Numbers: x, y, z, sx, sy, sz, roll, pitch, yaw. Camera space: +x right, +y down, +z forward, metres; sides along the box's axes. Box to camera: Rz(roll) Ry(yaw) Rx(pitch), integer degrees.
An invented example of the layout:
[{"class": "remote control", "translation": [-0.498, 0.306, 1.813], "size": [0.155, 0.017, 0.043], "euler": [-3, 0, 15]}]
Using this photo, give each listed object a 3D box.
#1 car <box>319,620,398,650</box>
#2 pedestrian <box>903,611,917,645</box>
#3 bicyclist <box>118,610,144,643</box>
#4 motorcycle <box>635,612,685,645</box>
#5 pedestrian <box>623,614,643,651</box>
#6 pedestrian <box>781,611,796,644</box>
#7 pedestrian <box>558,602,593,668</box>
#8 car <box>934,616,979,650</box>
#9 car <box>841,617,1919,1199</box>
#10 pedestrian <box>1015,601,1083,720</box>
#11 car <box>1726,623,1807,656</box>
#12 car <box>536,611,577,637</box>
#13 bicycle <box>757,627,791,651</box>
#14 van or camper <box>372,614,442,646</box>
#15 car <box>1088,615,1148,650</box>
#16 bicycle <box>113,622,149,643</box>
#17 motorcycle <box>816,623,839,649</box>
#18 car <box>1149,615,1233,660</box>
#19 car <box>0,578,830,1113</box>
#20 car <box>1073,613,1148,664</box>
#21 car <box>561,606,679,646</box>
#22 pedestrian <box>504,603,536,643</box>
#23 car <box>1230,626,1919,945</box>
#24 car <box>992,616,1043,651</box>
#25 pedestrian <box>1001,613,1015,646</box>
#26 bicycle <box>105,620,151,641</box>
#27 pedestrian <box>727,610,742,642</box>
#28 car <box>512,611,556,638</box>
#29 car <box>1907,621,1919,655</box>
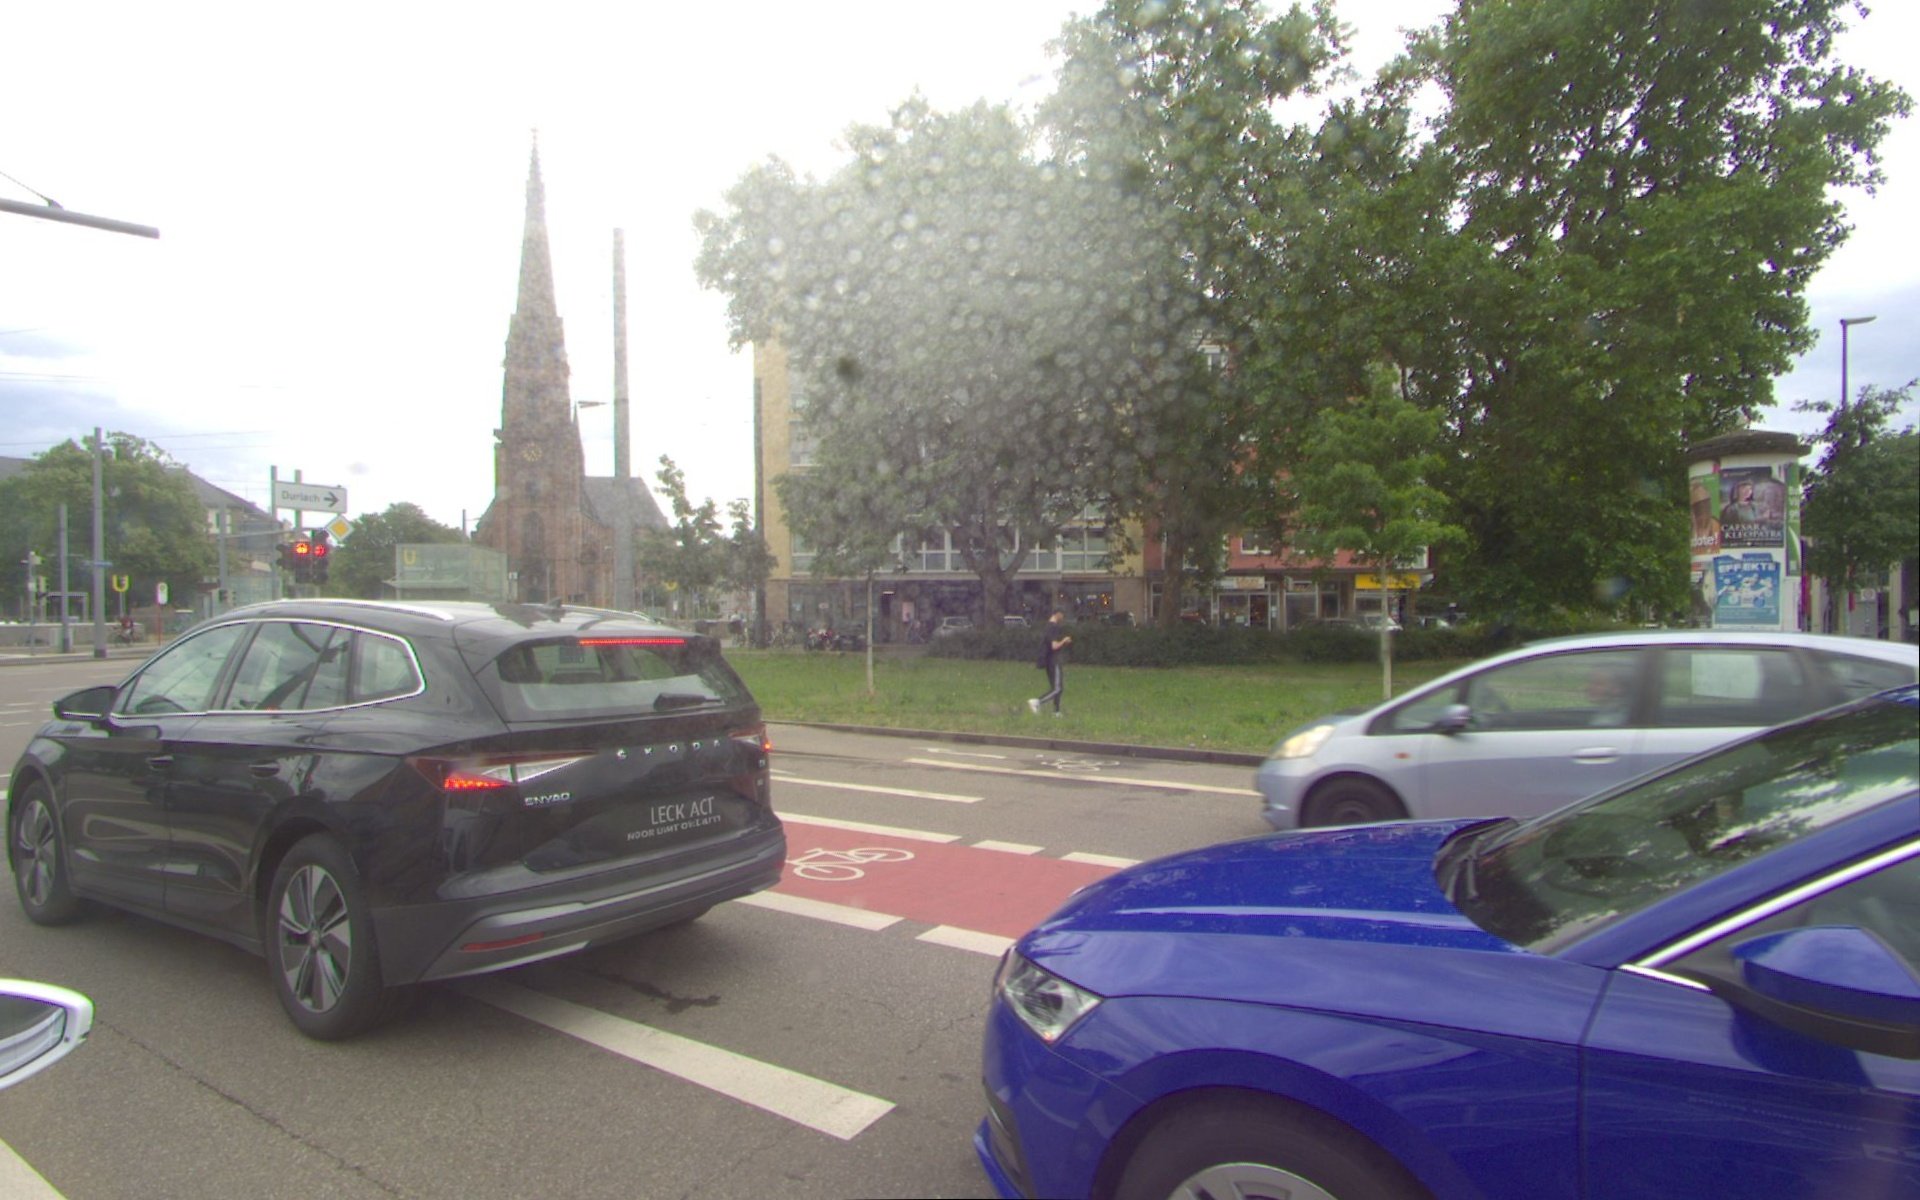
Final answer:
[{"class": "car", "translation": [-32.315, 1.858, 53.951], "size": [1.740, 1.483, 4.001], "euler": [-1, -1, 1]}, {"class": "pedestrian", "translation": [-2.466, 1.379, 49.633], "size": [0.625, 1.659, 0.872], "euler": [0, 0, 0]}, {"class": "bicyclist", "translation": [-48.106, 1.539, 58.111], "size": [0.764, 1.922, 0.996], "euler": [0, 0, -13]}, {"class": "motorcycle", "translation": [-11.189, 1.054, 37.411], "size": [0.753, 1.183, 2.385], "euler": [0, -1, 12]}, {"class": "pedestrian", "translation": [-14.621, 1.456, 44.796], "size": [0.625, 1.659, 0.872], "euler": [0, 0, -1]}, {"class": "pedestrian", "translation": [-8.648, 1.382, 50.493], "size": [0.625, 1.659, 0.872], "euler": [0, 0, -1]}, {"class": "pedestrian", "translation": [-11.596, 1.058, 30.235], "size": [0.874, 1.955, 1.016], "euler": [0, 0, -16]}, {"class": "car", "translation": [-0.221, 1.504, 46.225], "size": [1.825, 1.509, 4.476], "euler": [0, -1, -3]}, {"class": "car", "translation": [2.075, 0.787, 1.721], "size": [4.402, 1.508, 1.776], "euler": [-1, -1, 32]}, {"class": "pedestrian", "translation": [1.410, 0.946, 15.991], "size": [0.968, 1.868, 0.536], "euler": [0, 0, -11]}, {"class": "car", "translation": [43.457, 2.127, 54.080], "size": [1.828, 1.644, 4.469], "euler": [-2, -1, 17]}, {"class": "car", "translation": [-32.619, 1.954, 81.129], "size": [1.961, 2.040, 4.000], "euler": [0, -1, -5]}, {"class": "bicycle", "translation": [-7.523, 1.576, 40.532], "size": [1.240, 0.929, 0.595], "euler": [0, 0, 2]}, {"class": "van or camper", "translation": [-33.090, 1.781, 60.086], "size": [1.961, 1.764, 4.305], "euler": [-1, -1, -3]}, {"class": "car", "translation": [7.309, 1.498, 46.766], "size": [1.825, 1.568, 4.476], "euler": [0, -1, -3]}, {"class": "bicycle", "translation": [-48.106, 1.892, 58.147], "size": [0.763, 1.199, 2.030], "euler": [0, -1, -13]}, {"class": "motorcycle", "translation": [-5.209, 1.394, 39.383], "size": [0.857, 1.010, 1.014], "euler": [0, -1, -11]}, {"class": "car", "translation": [8.389, 1.334, 36.759], "size": [1.825, 1.568, 4.476], "euler": [0, -1, -3]}, {"class": "car", "translation": [-2.936, 0.780, 4.952], "size": [4.443, 1.617, 1.775], "euler": [-1, -1, 31]}, {"class": "car", "translation": [5.425, 1.351, 36.547], "size": [1.825, 1.745, 4.476], "euler": [0, -1, -3]}, {"class": "car", "translation": [-18.256, 1.386, 54.007], "size": [5.674, 2.039, 2.011], "euler": [0, -1, -40]}, {"class": "pedestrian", "translation": [-20.848, 1.097, 47.457], "size": [1.066, 1.820, 0.947], "euler": [-1, -1, 0]}, {"class": "car", "translation": [3.904, 0.917, 6.150], "size": [4.037, 1.486, 1.746], "euler": [-1, -1, 31]}, {"class": "car", "translation": [2.597, 1.525, 46.271], "size": [1.825, 1.509, 4.476], "euler": [0, -1, -3]}, {"class": "pedestrian", "translation": [2.392, 1.475, 49.922], "size": [0.625, 1.659, 0.872], "euler": [0, 0, 0]}, {"class": "bicycle", "translation": [-55.500, 2.039, 66.831], "size": [0.699, 1.348, 2.252], "euler": [-2, -1, 39]}, {"class": "pedestrian", "translation": [-11.678, 1.345, 51.882], "size": [0.772, 1.659, 0.637], "euler": [0, 0, -14]}, {"class": "car", "translation": [-32.533, 1.873, 76.577], "size": [1.961, 2.040, 4.000], "euler": [0, -1, -5]}, {"class": "car", "translation": [46.433, 1.783, 46.402], "size": [1.865, 1.568, 4.469], "euler": [-2, -1, 17]}]
